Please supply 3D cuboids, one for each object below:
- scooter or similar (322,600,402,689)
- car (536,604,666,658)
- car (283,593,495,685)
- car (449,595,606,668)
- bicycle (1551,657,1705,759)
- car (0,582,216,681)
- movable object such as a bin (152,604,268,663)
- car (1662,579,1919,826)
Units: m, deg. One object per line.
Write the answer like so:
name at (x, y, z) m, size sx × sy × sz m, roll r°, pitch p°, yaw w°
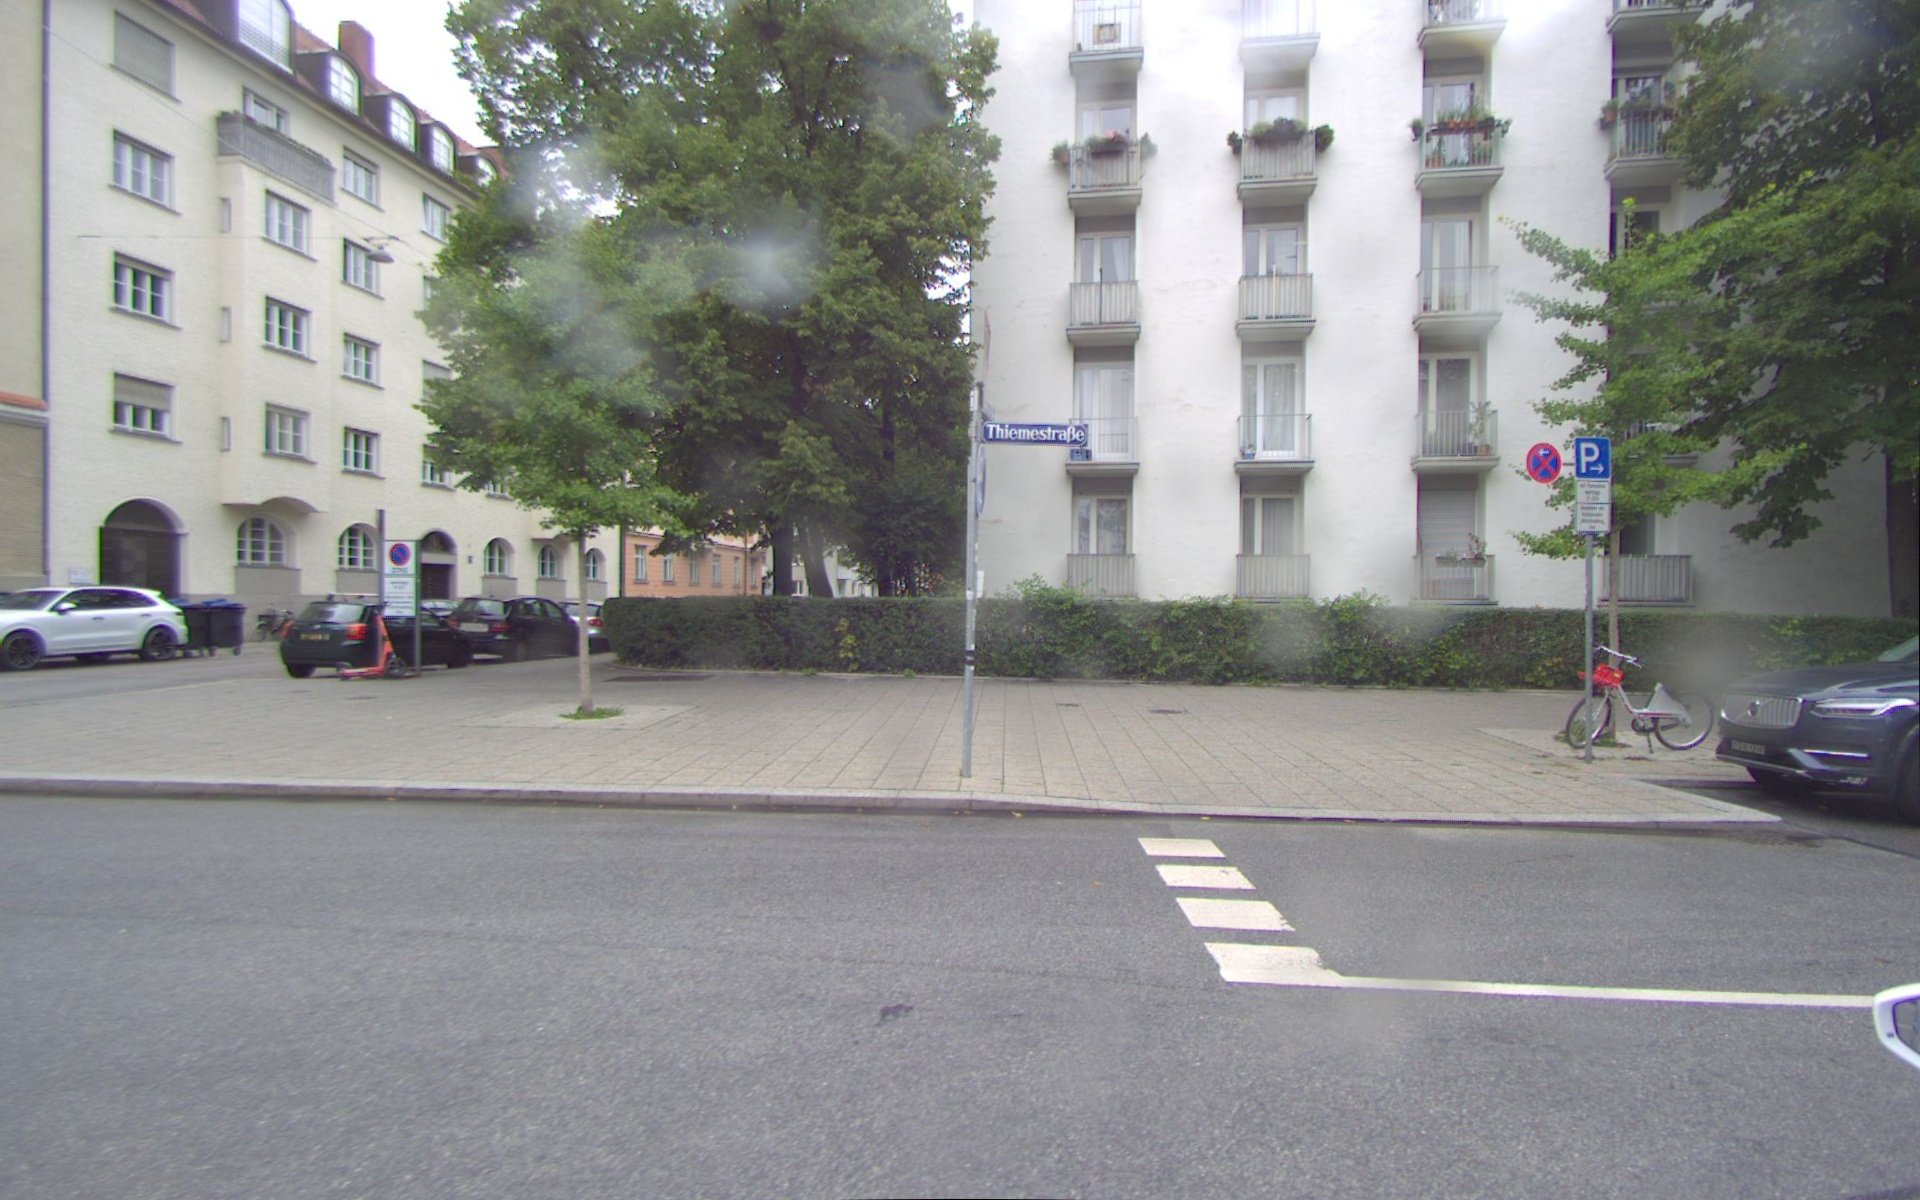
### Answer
scooter or similar at (-9.989, 0.721, 16.823) m, size 1.092 × 1.406 × 0.796 m, roll -1°, pitch 2°, yaw -30°
car at (-10.490, 0.887, 29.673) m, size 1.806 × 1.436 × 4.103 m, roll 2°, pitch -1°, yaw 10°
car at (-11.001, 0.714, 19.716) m, size 1.559 × 1.611 × 4.102 m, roll 0°, pitch -1°, yaw 5°
car at (-10.609, 0.760, 24.977) m, size 1.559 × 1.611 × 4.103 m, roll 2°, pitch -1°, yaw 10°
bicycle at (7.233, 1.165, 10.897) m, size 1.393 × 1.027 × 0.467 m, roll 2°, pitch 0°, yaw -6°
car at (-18.947, 0.601, 21.241) m, size 2.122 × 1.890 × 5.034 m, roll 2°, pitch -1°, yaw 10°
movable object such as a bin at (-18.930, 0.826, 25.383) m, size 1.537 × 1.391 × 1.873 m, roll 2°, pitch 0°, yaw 28°
car at (8.902, 0.821, 8.133) m, size 4.957 × 1.792 × 1.887 m, roll 2°, pitch 0°, yaw 6°
